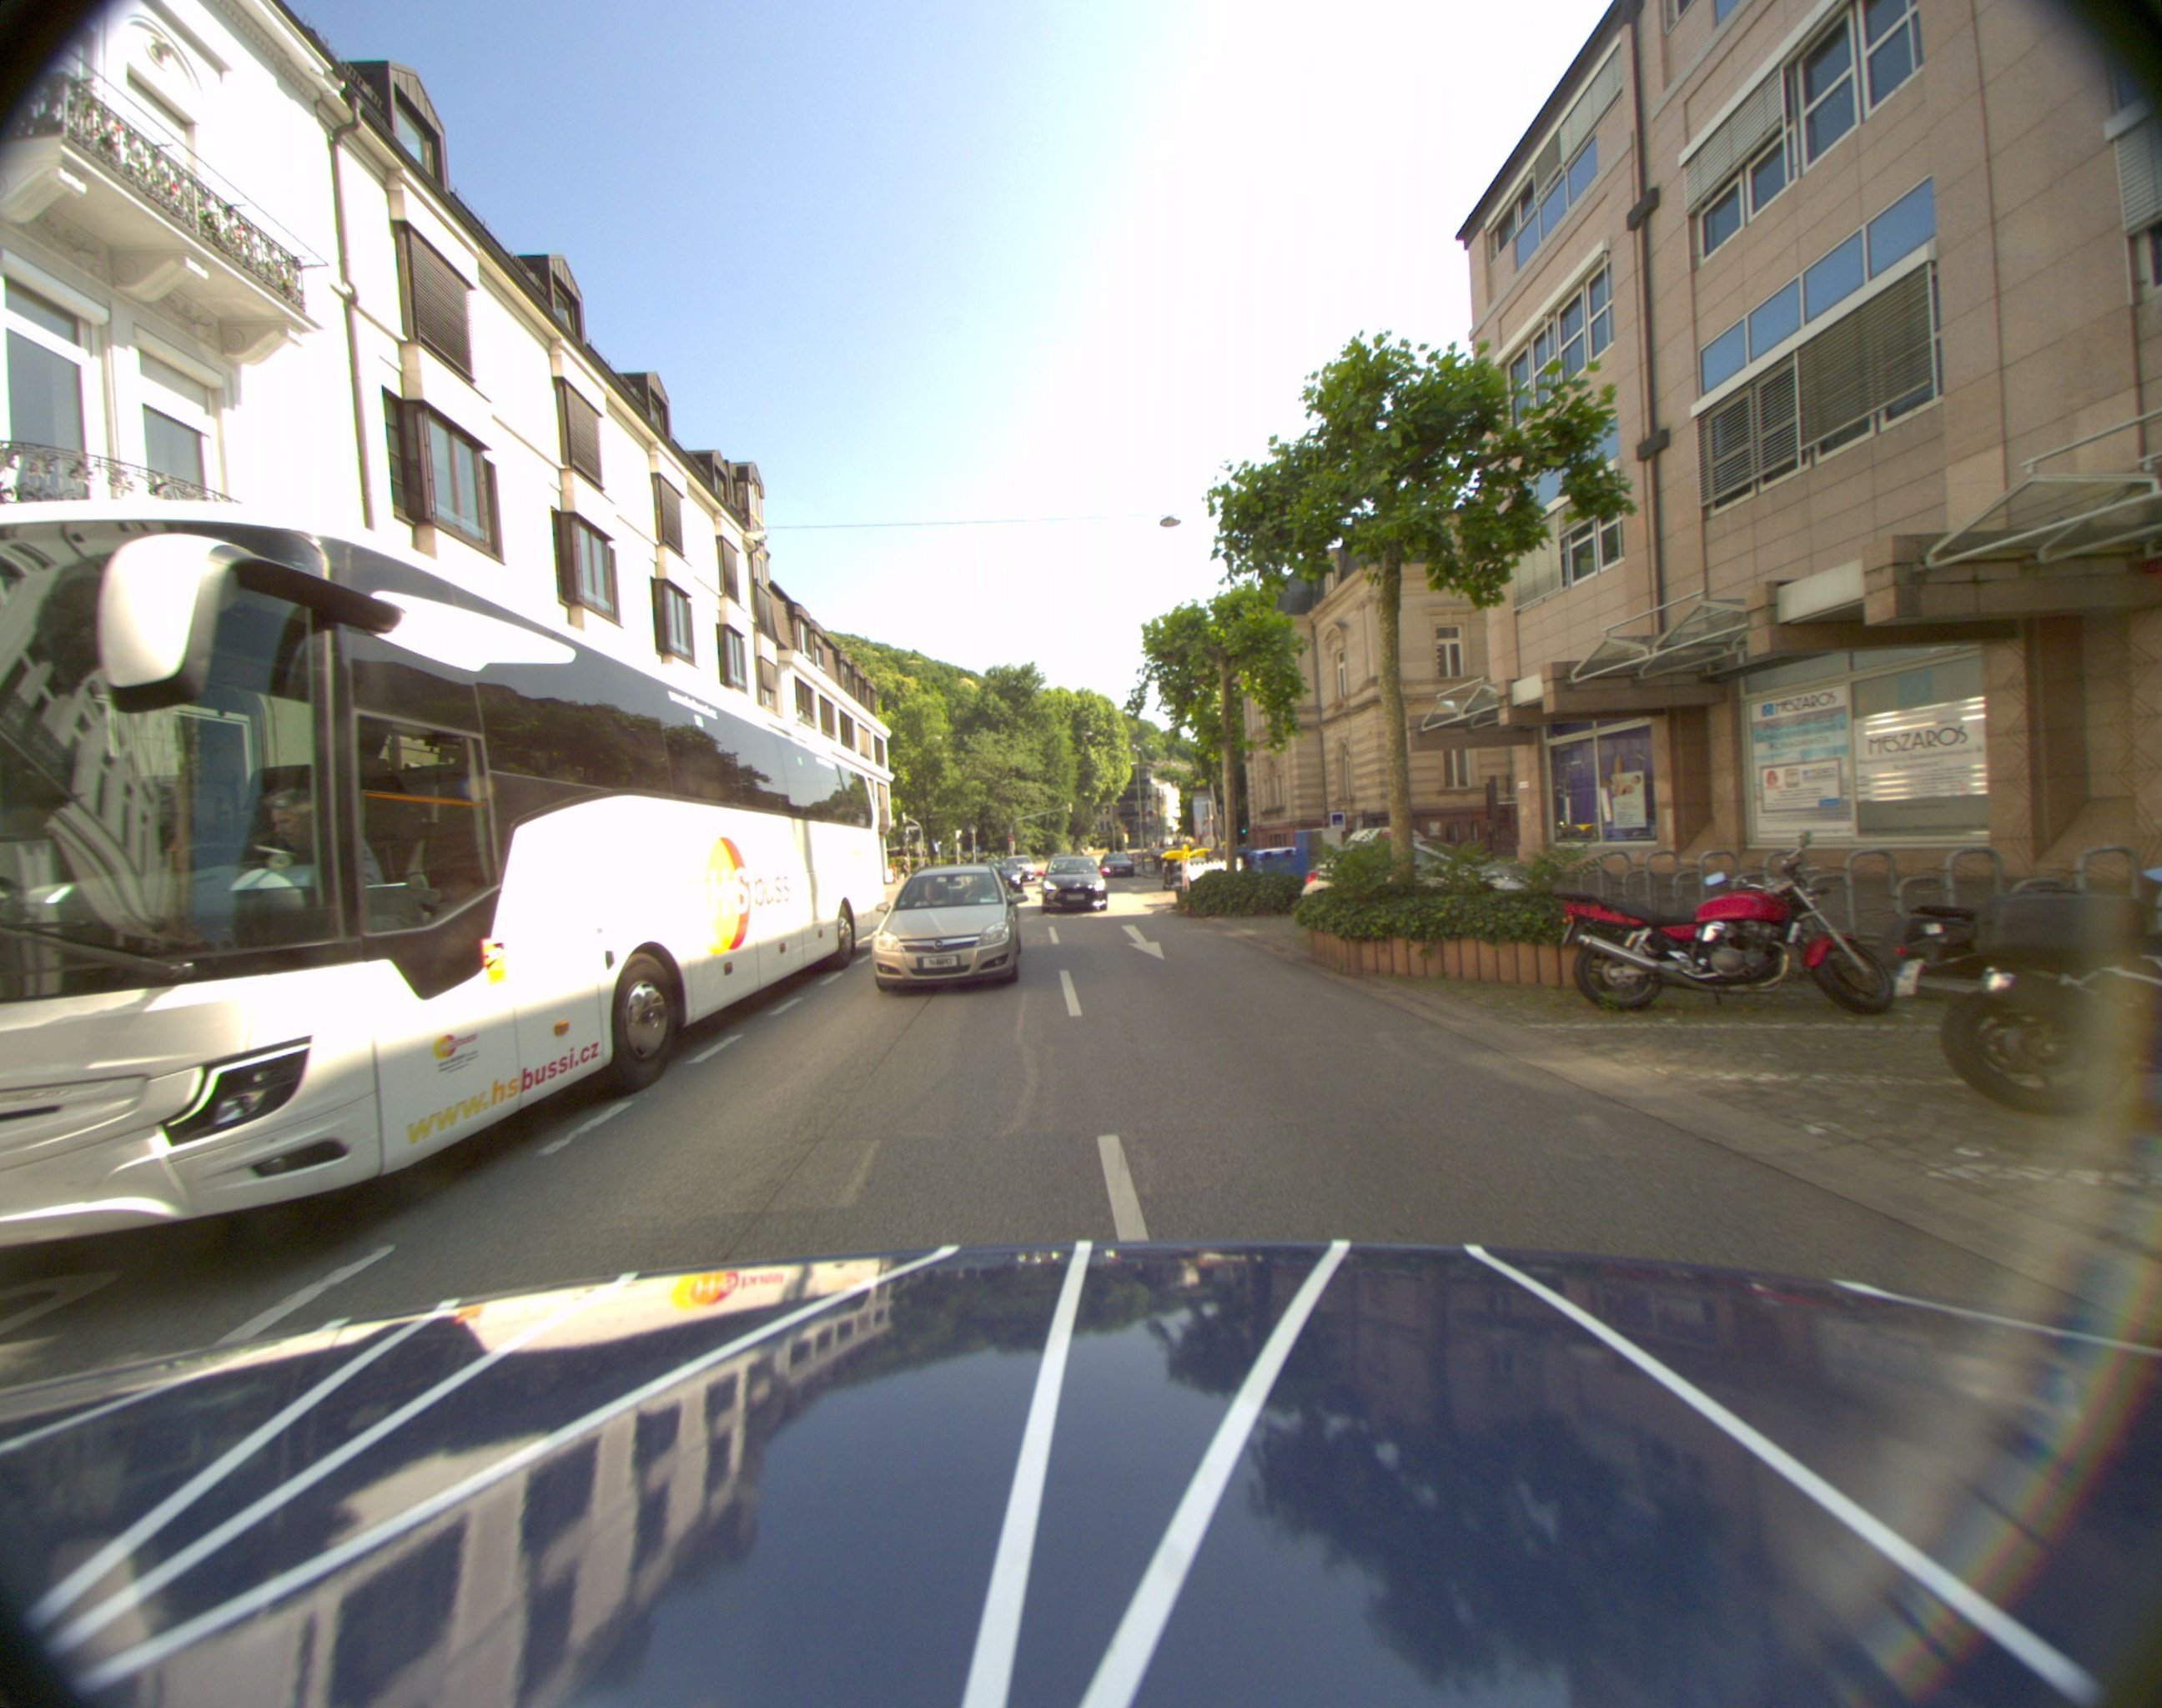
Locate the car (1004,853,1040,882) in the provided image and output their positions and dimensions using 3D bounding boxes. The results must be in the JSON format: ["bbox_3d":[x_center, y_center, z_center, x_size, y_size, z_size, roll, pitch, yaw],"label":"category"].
[{"bbox_3d":[-3.434,0.755,45.031,1.942,1.421,4.341,-4,1,-3],"label":"car"}]

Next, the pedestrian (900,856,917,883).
[{"bbox_3d":[-11.849,1.061,52.180,0.834,1.825,0.697,-3,2,6],"label":"pedestrian"}]

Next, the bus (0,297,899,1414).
[{"bbox_3d":[-4.813,0.085,8.704,2.889,3.720,12.421,-6,1,-4],"label":"bus"}]

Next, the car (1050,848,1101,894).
[{"bbox_3d":[-0.294,0.658,31.349,1.890,1.674,4.140,-3,0,-2],"label":"car"}]

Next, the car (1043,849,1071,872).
[{"bbox_3d":[-1.764,0.465,57.463,1.941,1.421,4.547,-3,2,-1],"label":"car"}]

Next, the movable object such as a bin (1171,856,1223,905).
[{"bbox_3d":[3.315,0.743,21.798,1.280,1.292,0.853,-4,1,-3],"label":"movable object such as a bin"}]

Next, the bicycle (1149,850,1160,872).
[{"bbox_3d":[4.244,0.399,43.779,0.430,1.114,2.243,-5,2,8],"label":"bicycle"}]

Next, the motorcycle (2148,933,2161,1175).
[{"bbox_3d":[4.789,0.813,2.181,1.913,1.163,0.729,-4,0,18],"label":"motorcycle"}]

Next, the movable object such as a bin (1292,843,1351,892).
[{"bbox_3d":[6.966,0.386,22.098,1.212,1.292,1.127,-5,0,-3],"label":"movable object such as a bin"}]

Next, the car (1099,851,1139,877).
[{"bbox_3d":[2.138,0.547,44.235,1.942,1.346,4.248,-3,0,-1],"label":"car"}]

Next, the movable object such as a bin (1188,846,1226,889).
[{"bbox_3d":[4.700,0.496,28.480,1.126,1.442,1.439,-5,0,3],"label":"movable object such as a bin"}]

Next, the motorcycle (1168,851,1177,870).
[{"bbox_3d":[5.239,0.368,43.595,0.454,0.992,2.161,-5,1,7],"label":"motorcycle"}]

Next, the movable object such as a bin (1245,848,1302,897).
[{"bbox_3d":[5.571,0.533,22.075,1.212,1.292,1.079,-6,0,-3],"label":"movable object such as a bin"}]

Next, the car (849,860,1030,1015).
[{"bbox_3d":[-1.699,0.936,10.532,1.712,1.513,4.405,-4,1,-2],"label":"car"}]

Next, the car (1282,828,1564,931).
[{"bbox_3d":[5.872,0.480,13.260,4.048,1.486,1.939,-5,0,38],"label":"car"}]

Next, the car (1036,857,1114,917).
[{"bbox_3d":[-0.265,0.849,21.245,1.811,1.443,3.952,-2,0,-5],"label":"car"}]

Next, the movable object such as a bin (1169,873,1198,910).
[{"bbox_3d":[2.730,0.994,20.240,0.556,0.934,0.499,-2,0,-29],"label":"movable object such as a bin"}]

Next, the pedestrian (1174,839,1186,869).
[{"bbox_3d":[5.662,-0.009,43.586,0.550,1.656,0.937,-3,2,6],"label":"pedestrian"}]

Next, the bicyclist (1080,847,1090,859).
[{"bbox_3d":[0.538,-0.101,101.963,0.865,1.566,0.945,-2,3,33],"label":"bicyclist"}]

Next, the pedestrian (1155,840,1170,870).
[{"bbox_3d":[4.745,0.063,44.113,0.696,1.686,0.690,-3,2,0],"label":"pedestrian"}]

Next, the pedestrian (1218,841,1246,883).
[{"bbox_3d":[6.565,0.344,33.055,0.892,1.715,0.748,-4,1,-9],"label":"pedestrian"}]

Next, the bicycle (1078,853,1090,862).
[{"bbox_3d":[0.444,0.442,101.885,0.782,1.114,1.681,-1,1,33],"label":"bicycle"}]

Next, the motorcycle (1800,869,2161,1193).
[{"bbox_3d":[5.335,0.752,3.649,2.348,1.260,1.295,-4,0,18],"label":"motorcycle"}]

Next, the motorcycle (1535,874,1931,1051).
[{"bbox_3d":[4.961,0.823,6.046,2.174,1.163,0.922,-4,0,25],"label":"motorcycle"}]

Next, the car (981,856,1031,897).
[{"bbox_3d":[-3.221,0.893,31.896,1.849,1.421,4.209,-4,1,-8],"label":"car"}]

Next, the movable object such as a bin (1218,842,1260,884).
[{"bbox_3d":[5.852,0.336,28.296,1.212,1.442,1.364,-5,0,3],"label":"movable object such as a bin"}]

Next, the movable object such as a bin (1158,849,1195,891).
[{"bbox_3d":[3.573,0.575,28.534,1.126,1.442,1.439,-5,0,3],"label":"movable object such as a bin"}]
